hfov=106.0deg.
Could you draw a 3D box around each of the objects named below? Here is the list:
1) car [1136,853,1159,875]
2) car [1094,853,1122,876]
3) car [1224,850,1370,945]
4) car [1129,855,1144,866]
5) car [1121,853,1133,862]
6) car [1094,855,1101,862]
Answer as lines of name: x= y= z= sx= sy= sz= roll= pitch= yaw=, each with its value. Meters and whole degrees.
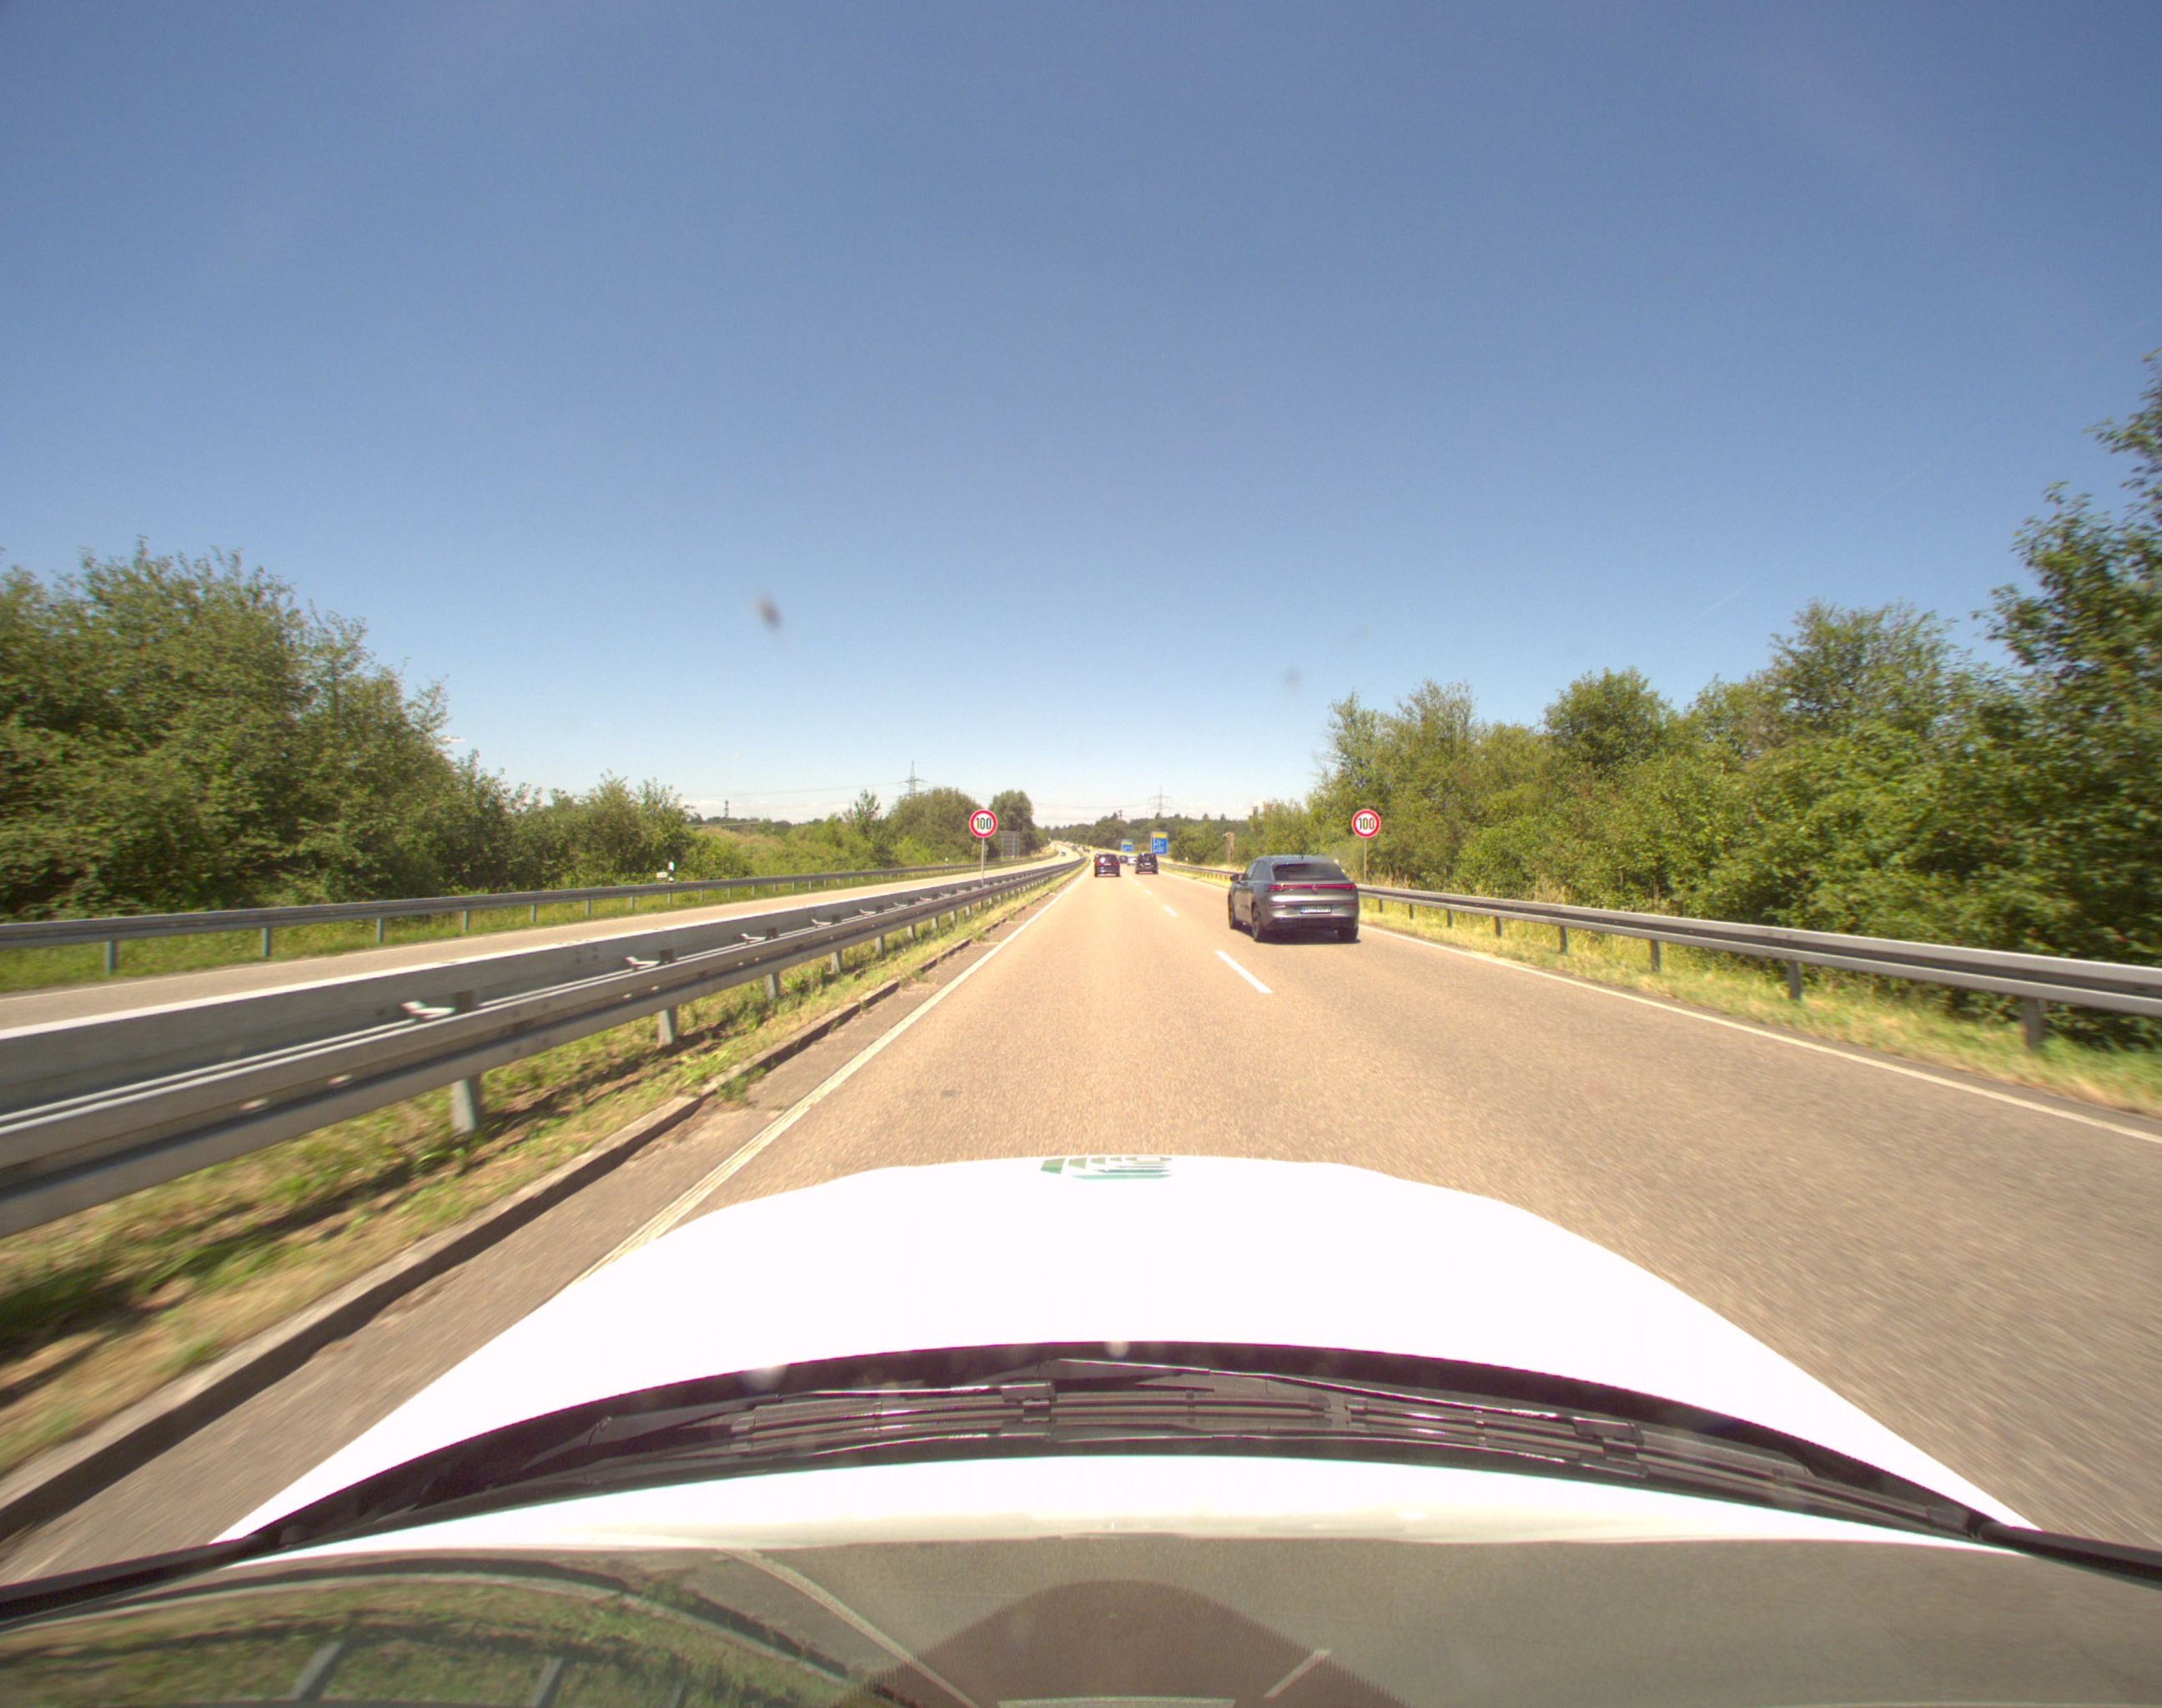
car: x=5.645 y=0.853 z=69.862 sx=1.773 sy=1.817 sz=4.214 roll=0 pitch=0 yaw=2
car: x=1.989 y=0.760 z=61.196 sx=1.987 sy=1.654 sz=3.999 roll=0 pitch=0 yaw=0
car: x=3.962 y=0.717 z=15.609 sx=1.779 sy=1.553 sz=4.019 roll=-1 pitch=1 yaw=1
car: x=7.755 y=0.895 z=113.839 sx=1.773 sy=1.479 sz=4.314 roll=3 pitch=0 yaw=0
car: x=7.290 y=0.514 z=129.582 sx=1.813 sy=1.414 sz=4.001 roll=0 pitch=0 yaw=1
car: x=3.616 y=0.965 z=177.908 sx=1.510 sy=1.475 sz=3.066 roll=3 pitch=1 yaw=0
